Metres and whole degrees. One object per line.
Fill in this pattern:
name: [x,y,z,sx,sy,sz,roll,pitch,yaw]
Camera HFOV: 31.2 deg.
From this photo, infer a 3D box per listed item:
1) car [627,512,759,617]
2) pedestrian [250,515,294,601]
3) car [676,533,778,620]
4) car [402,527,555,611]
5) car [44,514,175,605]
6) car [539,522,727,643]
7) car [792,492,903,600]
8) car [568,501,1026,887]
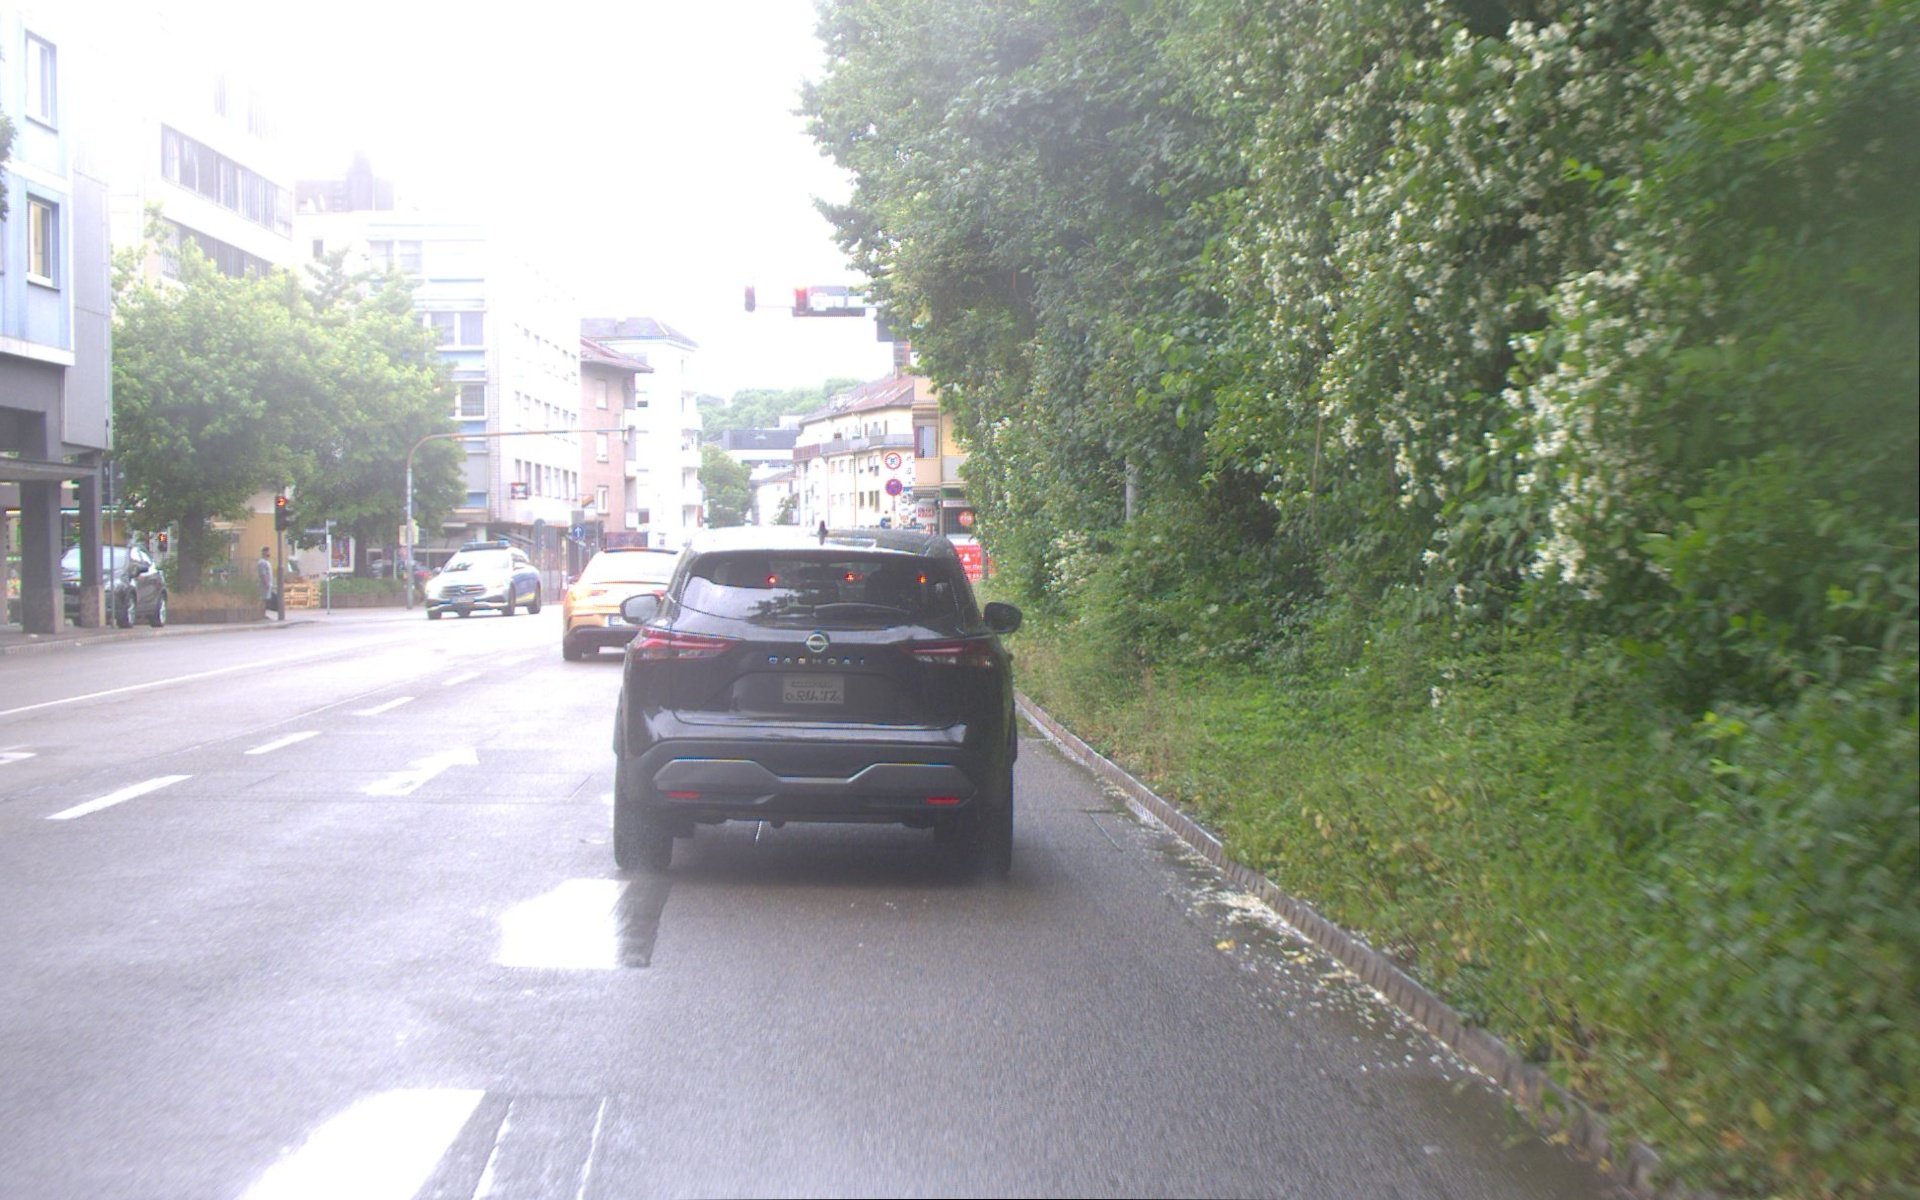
car: [-3.980,-0.557,51.795,1.743,1.482,4.162,-1,1,-1]
pedestrian: [-16.431,-1.005,82.133,0.940,2.007,0.887,-2,1,-10]
car: [-3.950,-0.429,58.771,1.613,1.415,3.967,0,1,-2]
car: [-10.497,-0.709,75.354,1.994,1.744,4.806,-1,1,9]
car: [-16.532,-0.808,66.985,1.539,1.700,4.288,0,1,-1]
car: [-4.215,-0.268,44.976,2.066,1.459,4.587,0,2,-1]
car: [-2.141,-1.059,66.328,1.993,2.007,4.000,-1,1,0]
car: [-0.783,0.354,16.890,1.959,1.647,4.001,-1,1,-2]
